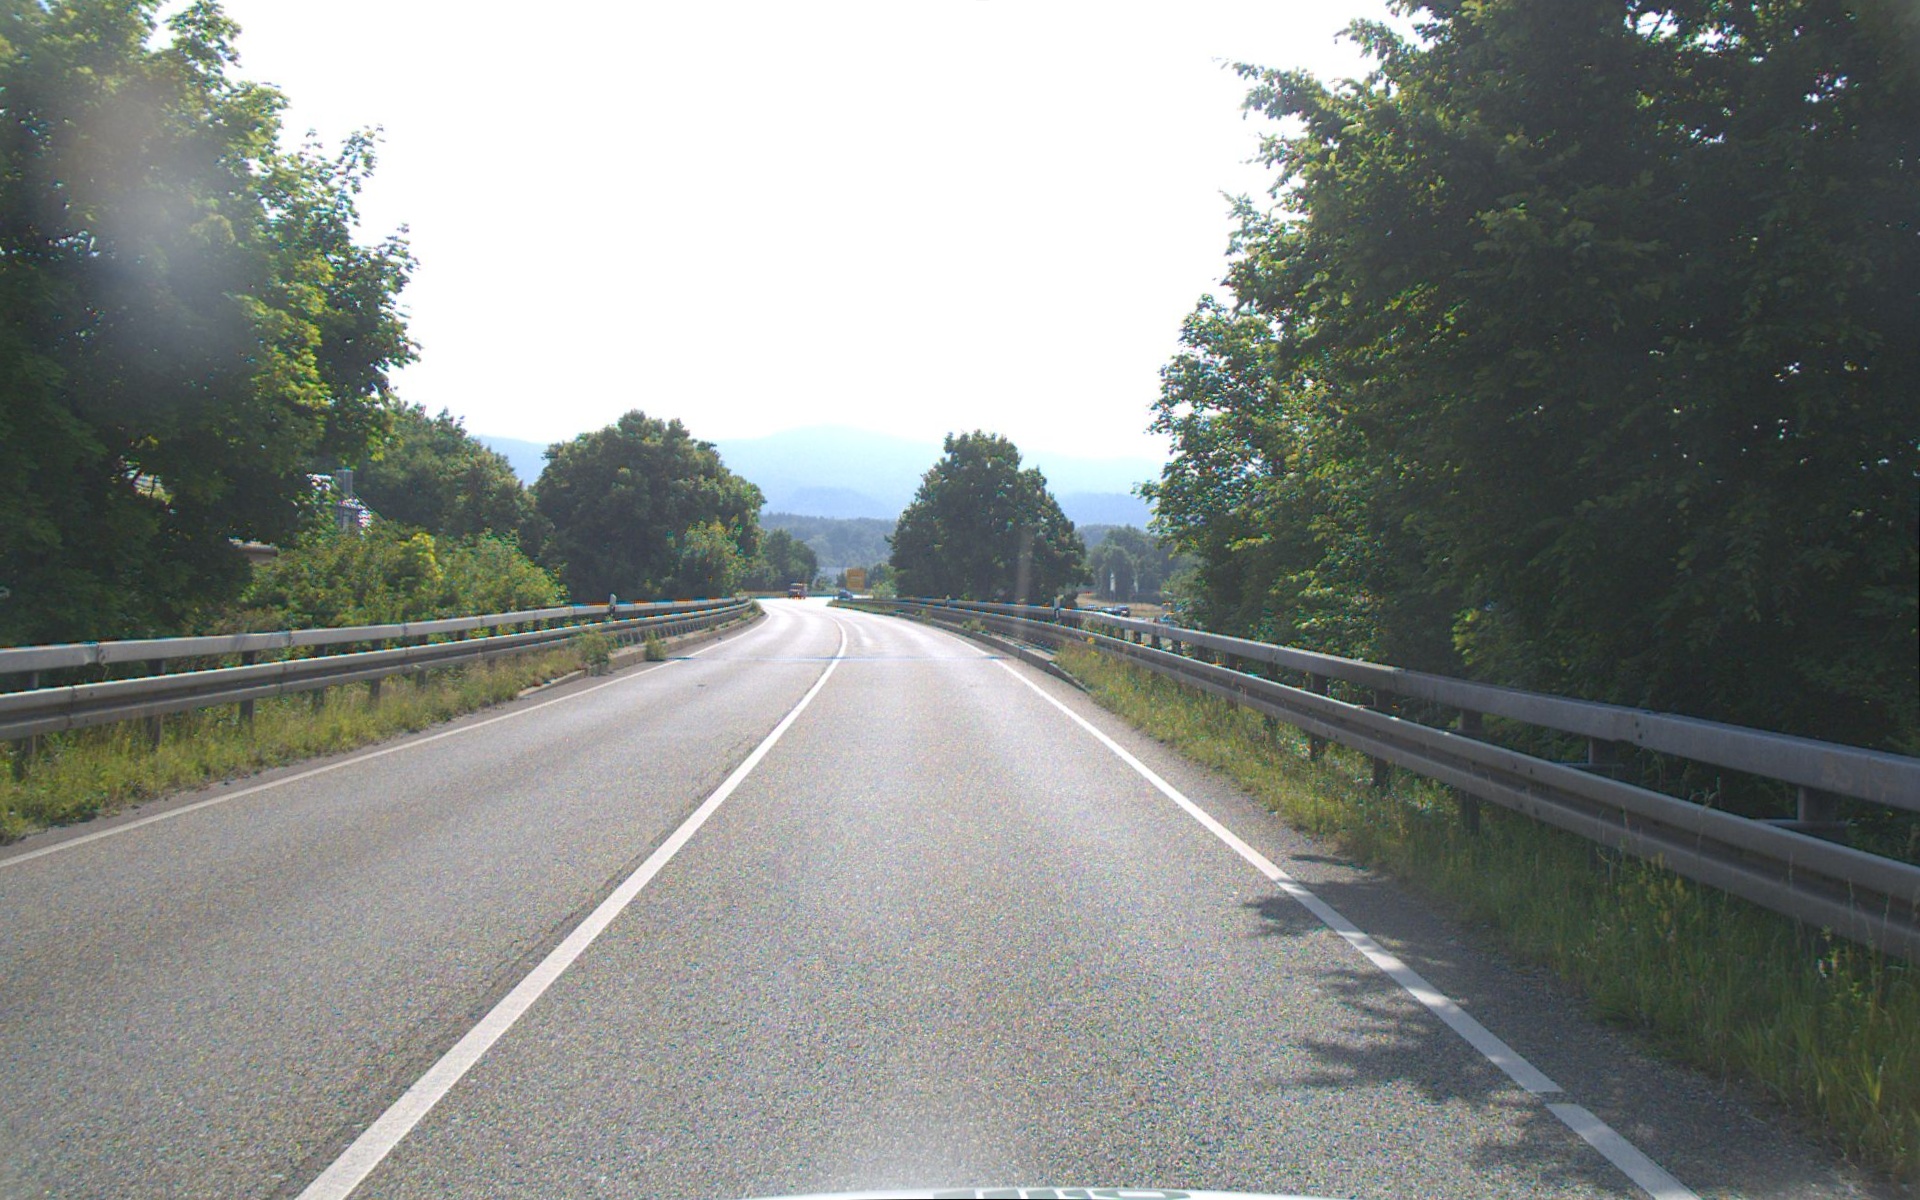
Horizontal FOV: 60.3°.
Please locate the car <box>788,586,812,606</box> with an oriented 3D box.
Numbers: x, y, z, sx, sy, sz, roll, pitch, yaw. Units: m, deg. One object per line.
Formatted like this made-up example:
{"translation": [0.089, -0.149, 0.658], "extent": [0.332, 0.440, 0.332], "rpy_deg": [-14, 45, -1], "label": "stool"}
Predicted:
{"translation": [-24.747, -0.647, 255.344], "extent": [3.113, 2.684, 8.386], "rpy_deg": [5, 0, -8], "label": "car"}
